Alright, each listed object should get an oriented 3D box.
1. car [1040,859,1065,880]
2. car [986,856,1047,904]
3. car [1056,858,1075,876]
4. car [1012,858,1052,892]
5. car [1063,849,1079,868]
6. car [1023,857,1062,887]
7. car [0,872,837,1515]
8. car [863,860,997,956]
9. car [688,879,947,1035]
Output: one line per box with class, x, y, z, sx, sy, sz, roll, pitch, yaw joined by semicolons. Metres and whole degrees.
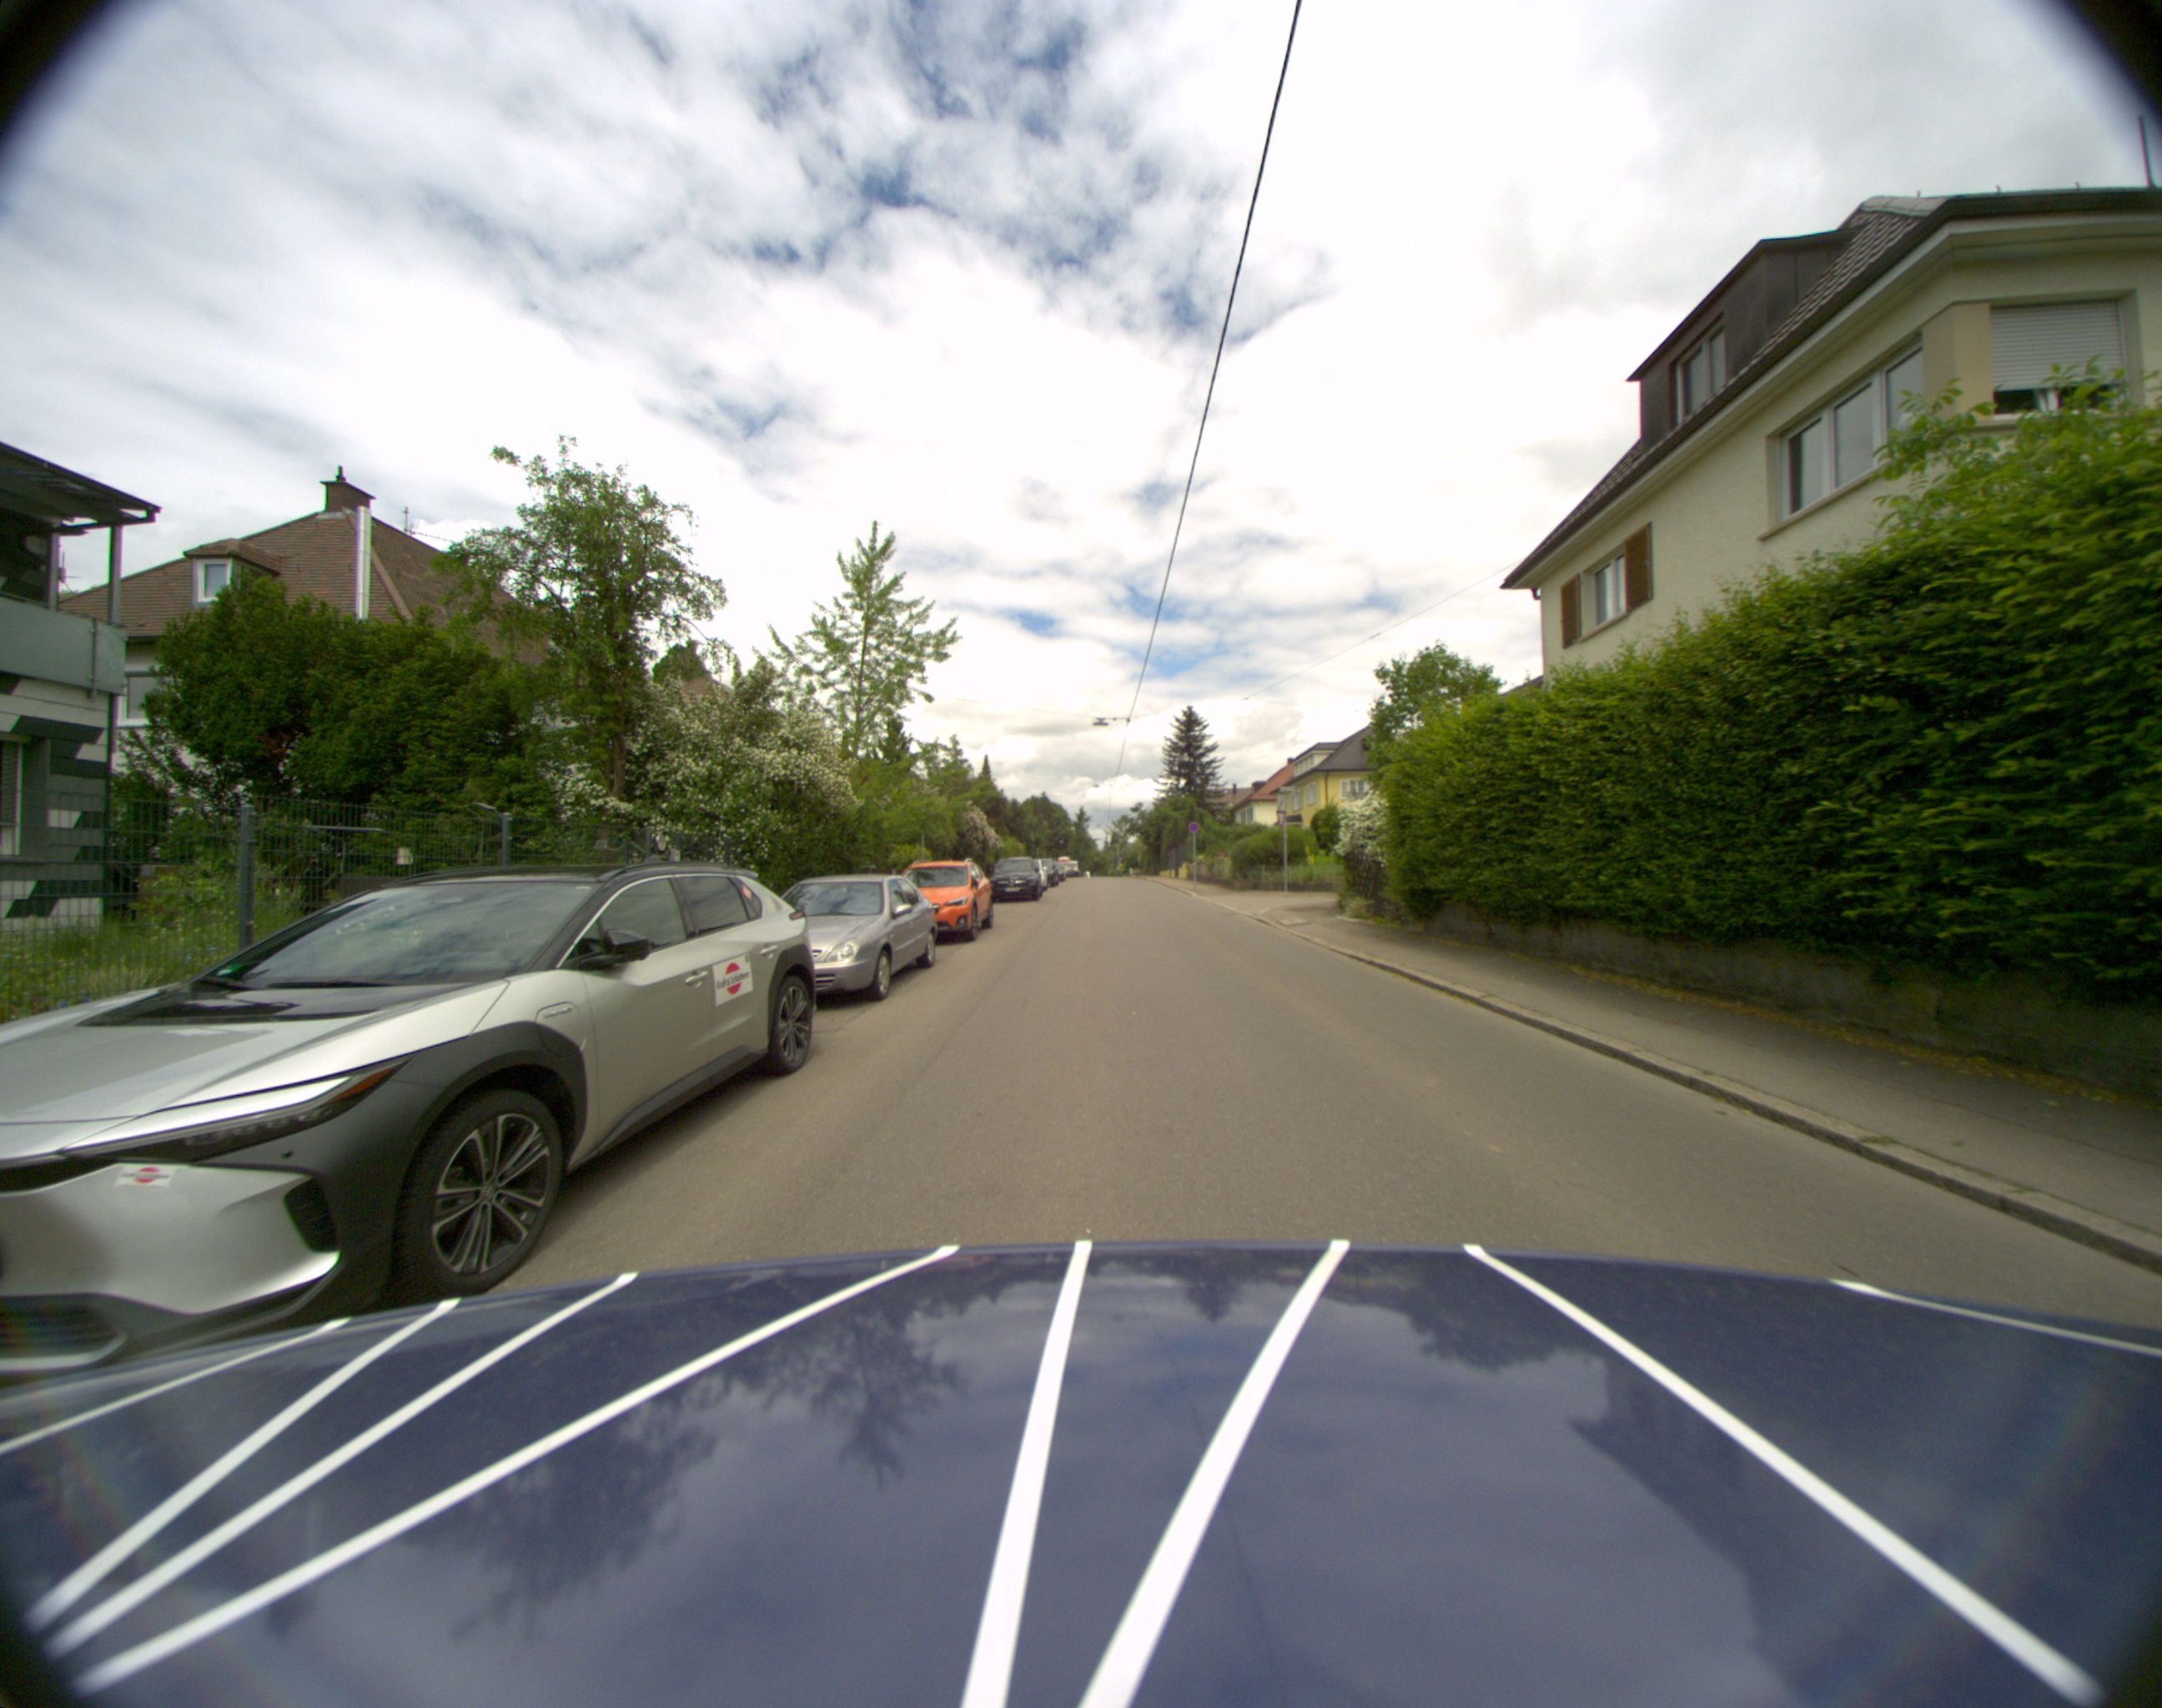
car;-2.045;1.112;55.131;1.721;1.451;4.140;-1;-1;-2
car;-2.416;0.939;29.448;1.955;1.617;4.375;-2;0;-1
car;-1.573;1.365;78.490;1.878;1.621;4.128;-2;-3;1
car;-2.335;0.989;36.482;1.602;1.501;3.014;-1;-1;2
car;-1.250;0.602;96.035;1.854;2.210;5.368;-3;-1;0
car;-2.135;0.979;43.006;1.805;1.582;4.142;-1;0;3
car;-3.097;0.996;4.314;1.834;1.614;4.492;-2;0;1
car;-2.959;0.990;15.805;1.855;1.617;4.169;-2;0;0
car;-3.022;1.104;9.741;1.720;1.374;4.236;-2;0;1
